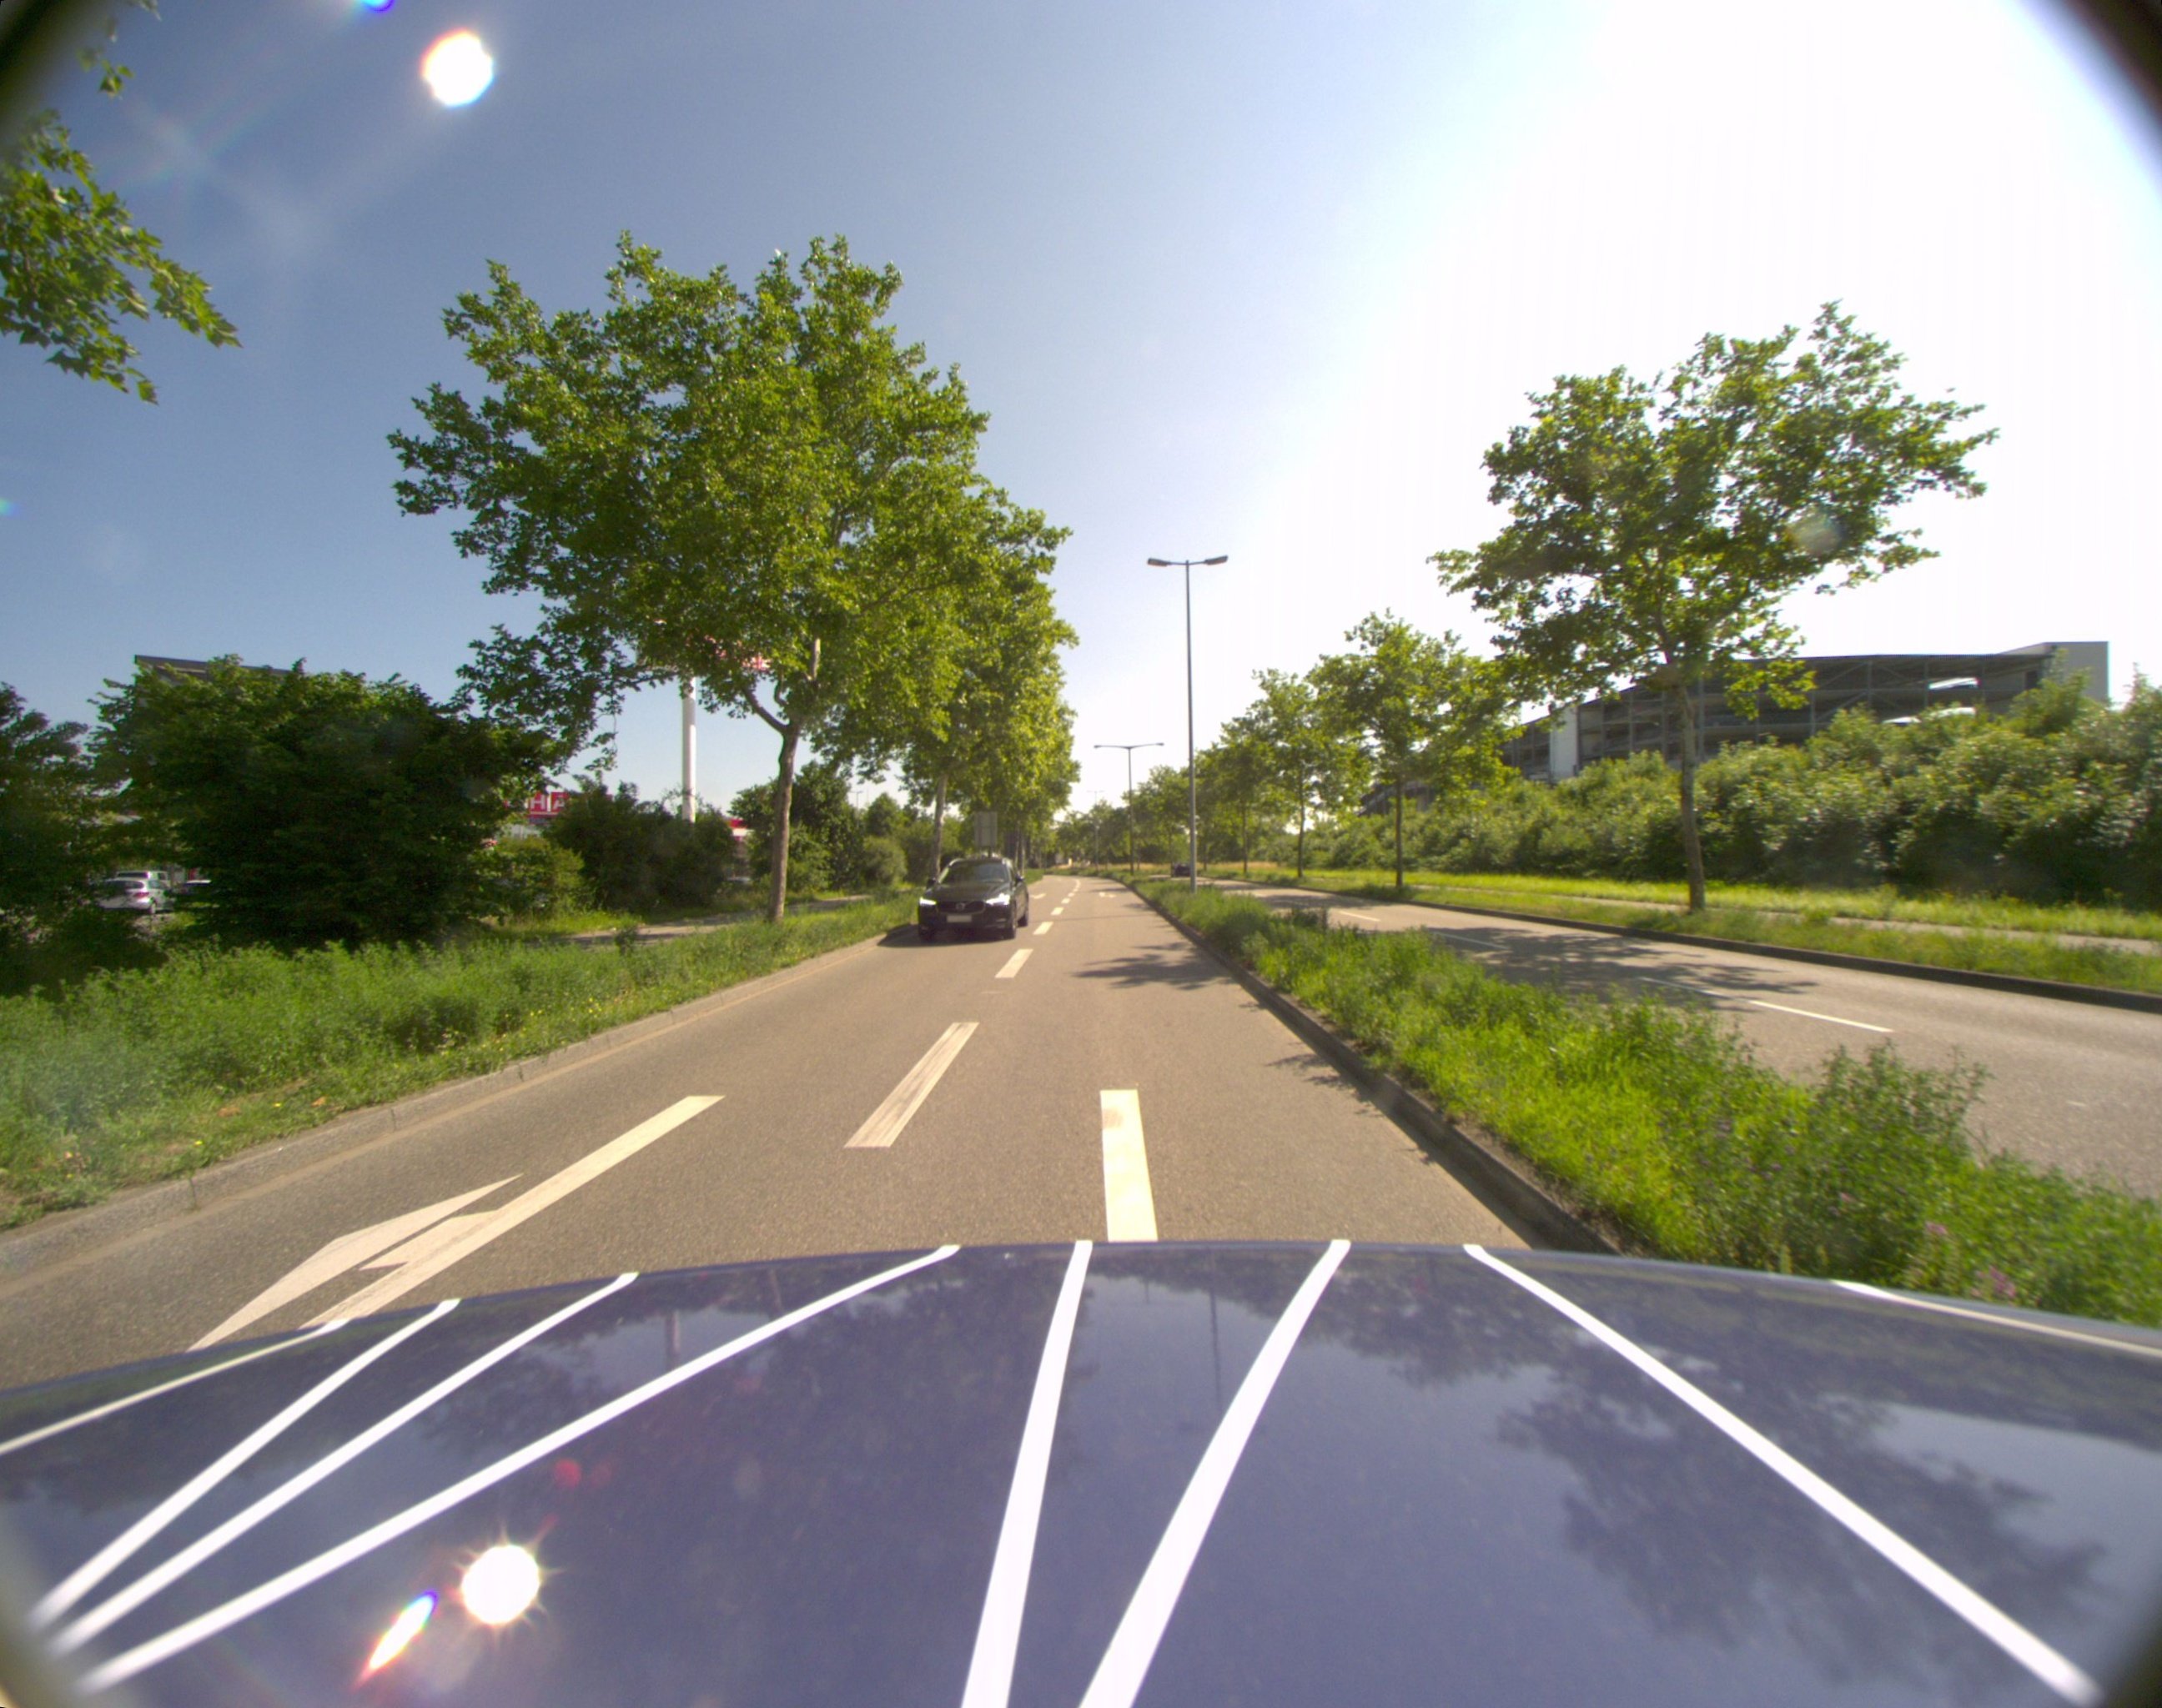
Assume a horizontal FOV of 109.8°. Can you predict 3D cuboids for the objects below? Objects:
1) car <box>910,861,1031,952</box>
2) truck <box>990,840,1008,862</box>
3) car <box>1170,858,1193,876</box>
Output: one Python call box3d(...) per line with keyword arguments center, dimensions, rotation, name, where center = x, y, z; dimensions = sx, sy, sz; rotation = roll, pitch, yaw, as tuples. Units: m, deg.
box3d(center=(-2.228, 1.007, 16.586), dimensions=(1.924, 1.613, 4.564), rotation=(-2, 0, 0), name="car")
box3d(center=(-15.034, -0.463, 138.502), dimensions=(2.744, 3.872, 5.846), rotation=(-2, 0, -11), name="truck")
box3d(center=(9.089, 1.153, 68.964), dimensions=(1.574, 1.461, 3.927), rotation=(-2, 0, 0), name="car")
